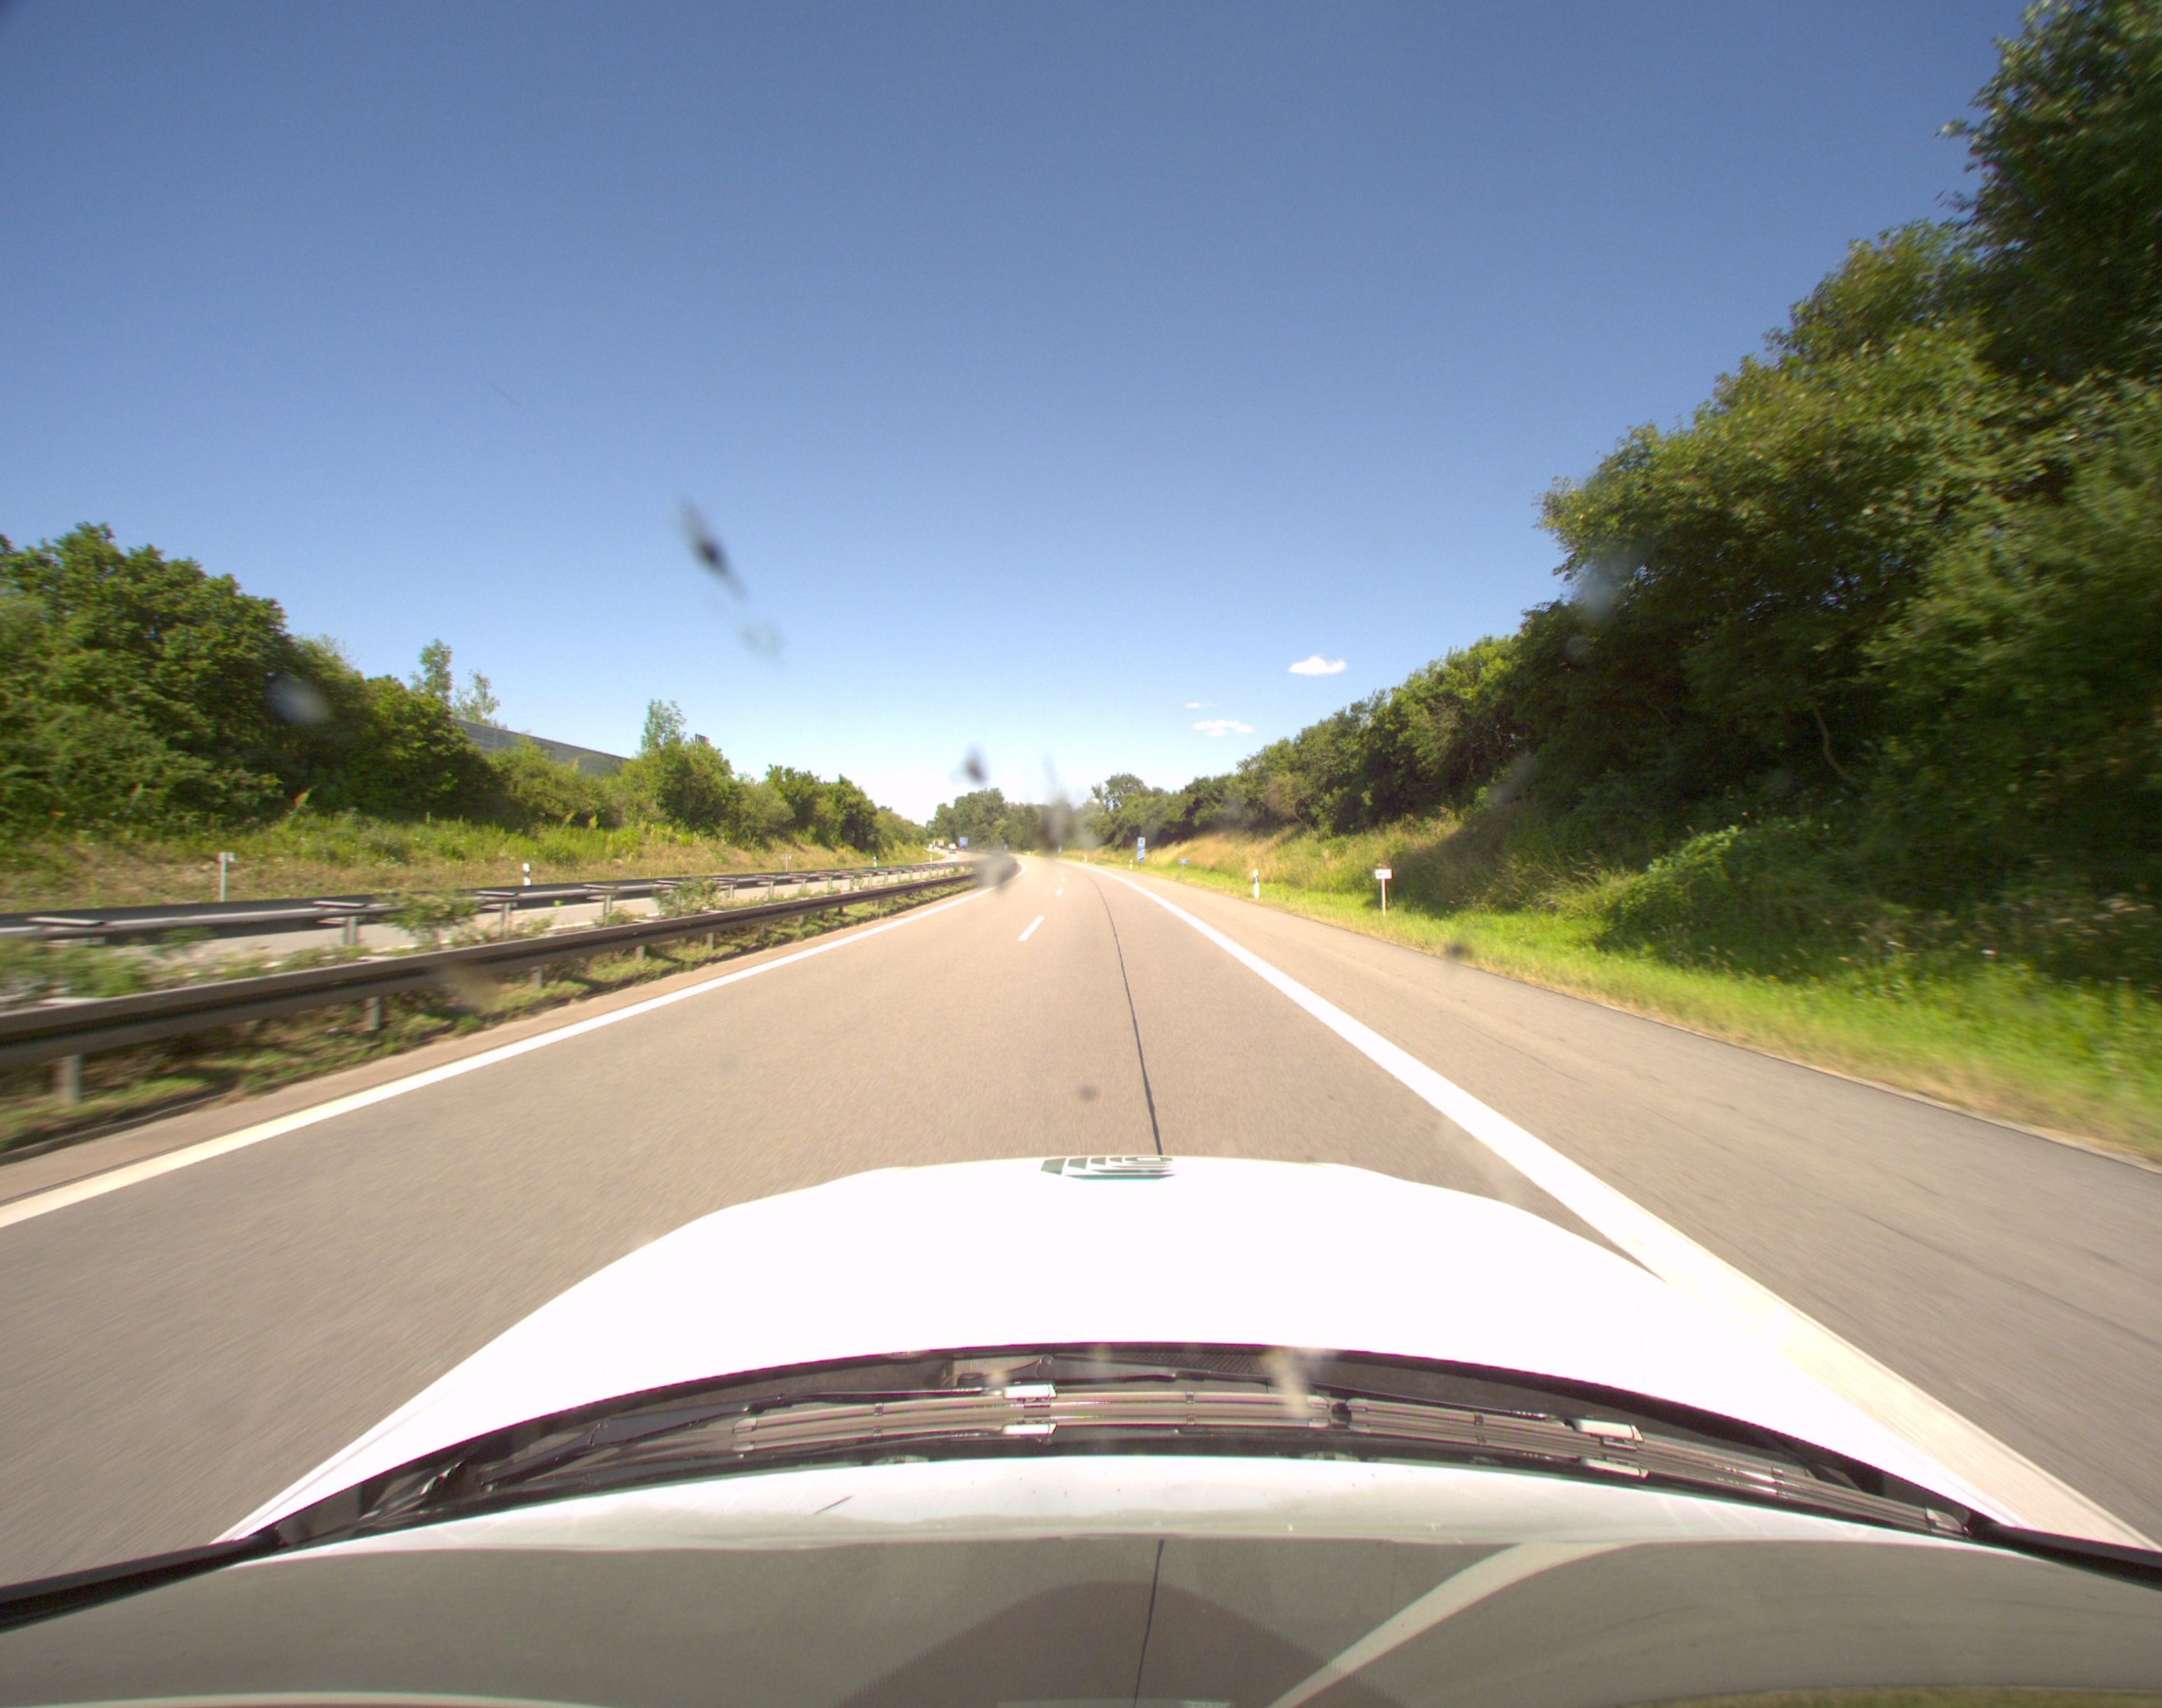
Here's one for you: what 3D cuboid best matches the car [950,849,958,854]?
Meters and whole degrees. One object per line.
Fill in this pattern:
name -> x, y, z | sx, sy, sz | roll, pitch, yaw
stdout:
car -> -37.311, -0.773, 238.772 | 1.964, 1.564, 5.164 | -1, 0, -5

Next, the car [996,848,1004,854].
car -> -21.855, -0.843, 219.210 | 2.060, 1.625, 3.990 | 0, -2, -7
